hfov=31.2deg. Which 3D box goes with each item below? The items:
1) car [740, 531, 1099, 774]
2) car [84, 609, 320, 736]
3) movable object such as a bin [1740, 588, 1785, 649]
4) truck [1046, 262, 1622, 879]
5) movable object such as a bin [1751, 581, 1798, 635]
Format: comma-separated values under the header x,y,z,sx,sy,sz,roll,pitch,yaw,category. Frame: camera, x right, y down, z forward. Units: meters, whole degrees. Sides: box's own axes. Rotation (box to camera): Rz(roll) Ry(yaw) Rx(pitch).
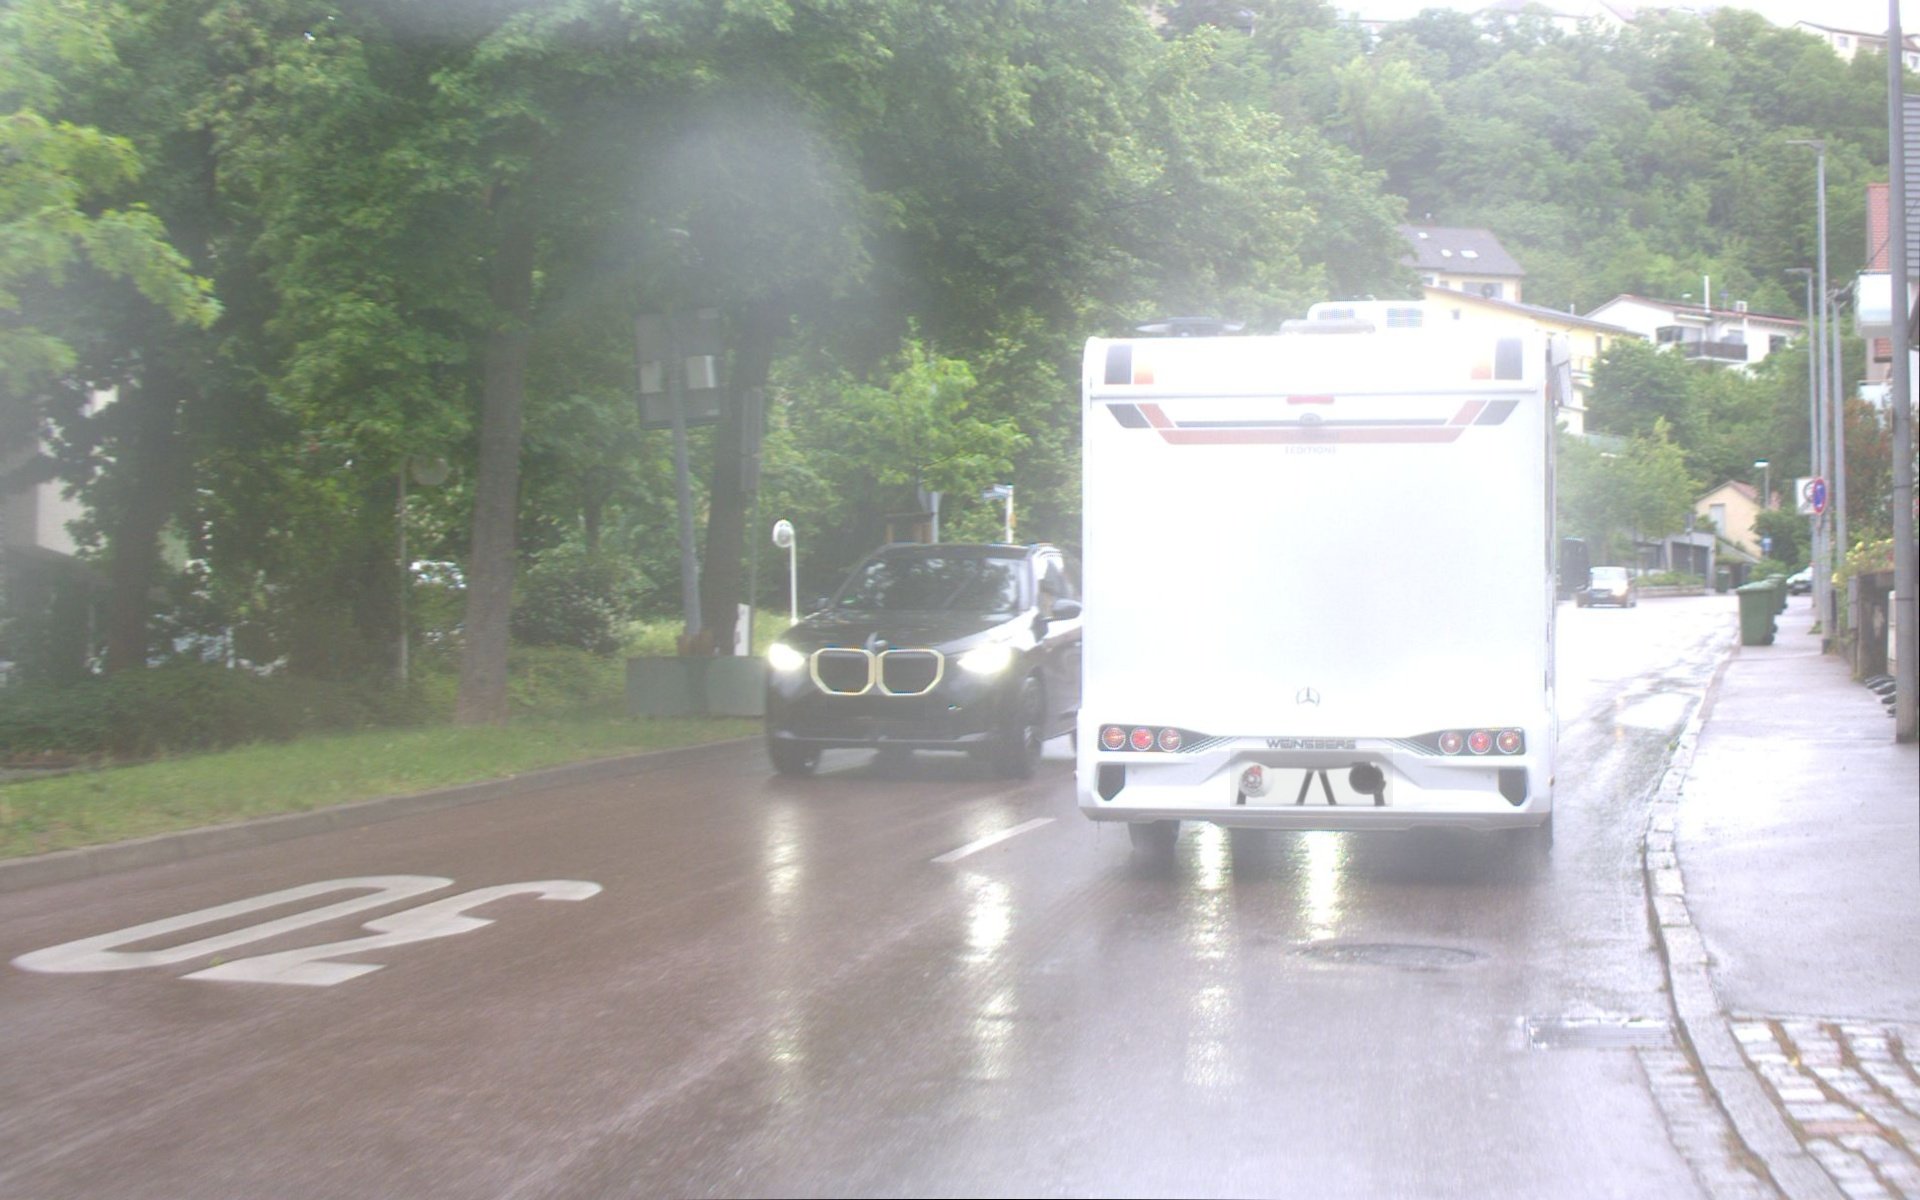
x,y,z,sx,sy,sz,roll,pitch,yaw,category
-0.200,0.333,25.239,1.889,1.610,4.138,1,1,10,car
-8.614,0.797,39.354,1.993,1.325,3.447,1,1,-1,car
14.150,0.322,60.620,0.720,1.048,0.799,1,0,17,movable object such as a bin
2.289,-0.175,18.933,2.517,2.808,6.198,1,1,12,truck
17.083,0.160,72.066,0.914,1.099,0.701,1,0,16,movable object such as a bin
